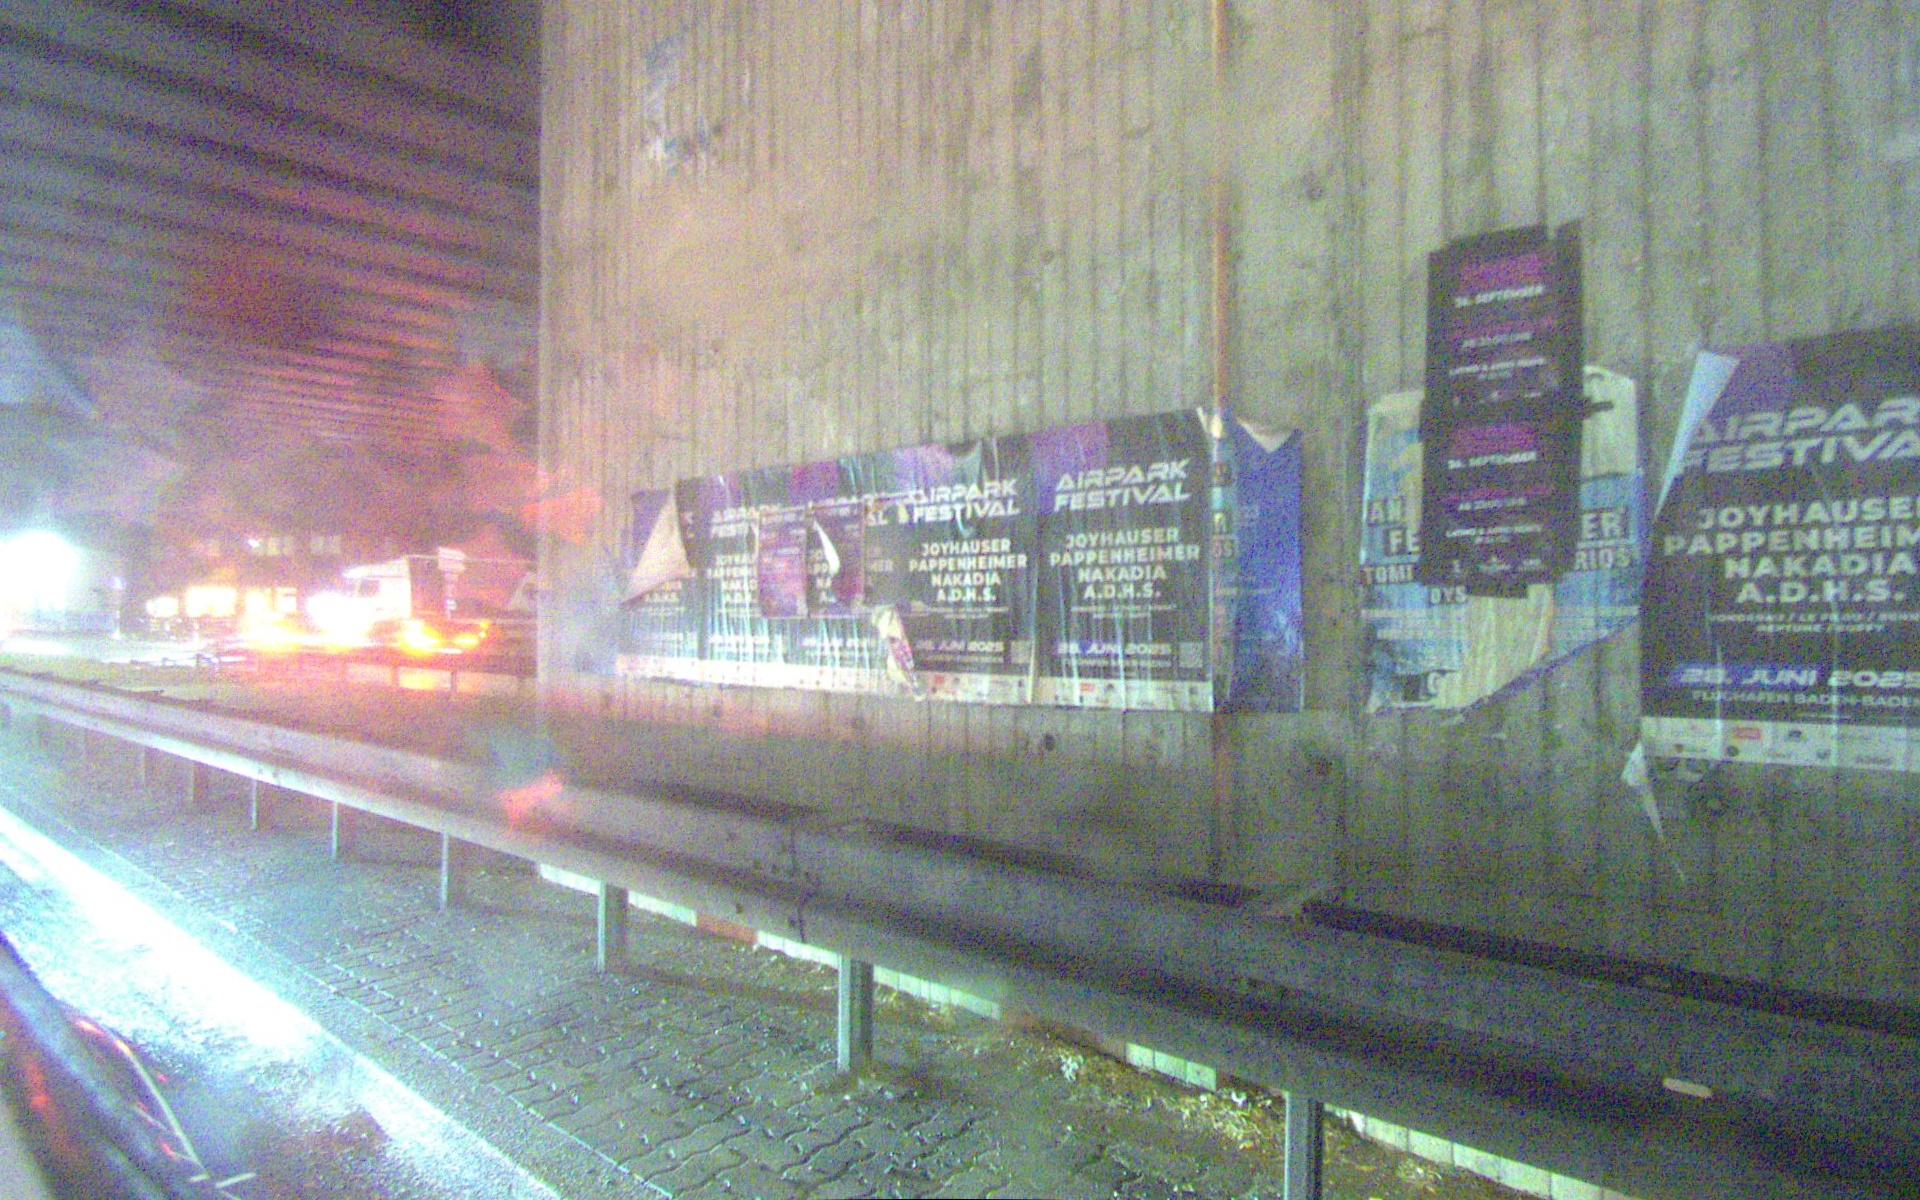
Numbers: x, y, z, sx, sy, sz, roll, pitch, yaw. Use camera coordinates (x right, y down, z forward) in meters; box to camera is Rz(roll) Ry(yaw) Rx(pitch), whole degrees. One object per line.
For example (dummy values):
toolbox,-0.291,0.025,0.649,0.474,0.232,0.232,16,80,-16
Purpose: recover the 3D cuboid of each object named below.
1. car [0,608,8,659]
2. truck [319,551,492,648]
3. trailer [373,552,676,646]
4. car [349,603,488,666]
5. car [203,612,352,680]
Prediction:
car,-38.554,1.286,38.743,3.982,1.940,1.981,-1,0,29
truck,-25.923,-0.019,47.409,6.282,4.208,3.973,-1,0,-44
trailer,-21.698,-0.076,51.591,13.713,4.208,3.973,-1,0,-44
car,-15.065,0.918,28.076,4.135,1.617,1.801,-1,0,36
car,-17.265,1.099,25.555,3.994,1.530,1.975,-1,0,38
